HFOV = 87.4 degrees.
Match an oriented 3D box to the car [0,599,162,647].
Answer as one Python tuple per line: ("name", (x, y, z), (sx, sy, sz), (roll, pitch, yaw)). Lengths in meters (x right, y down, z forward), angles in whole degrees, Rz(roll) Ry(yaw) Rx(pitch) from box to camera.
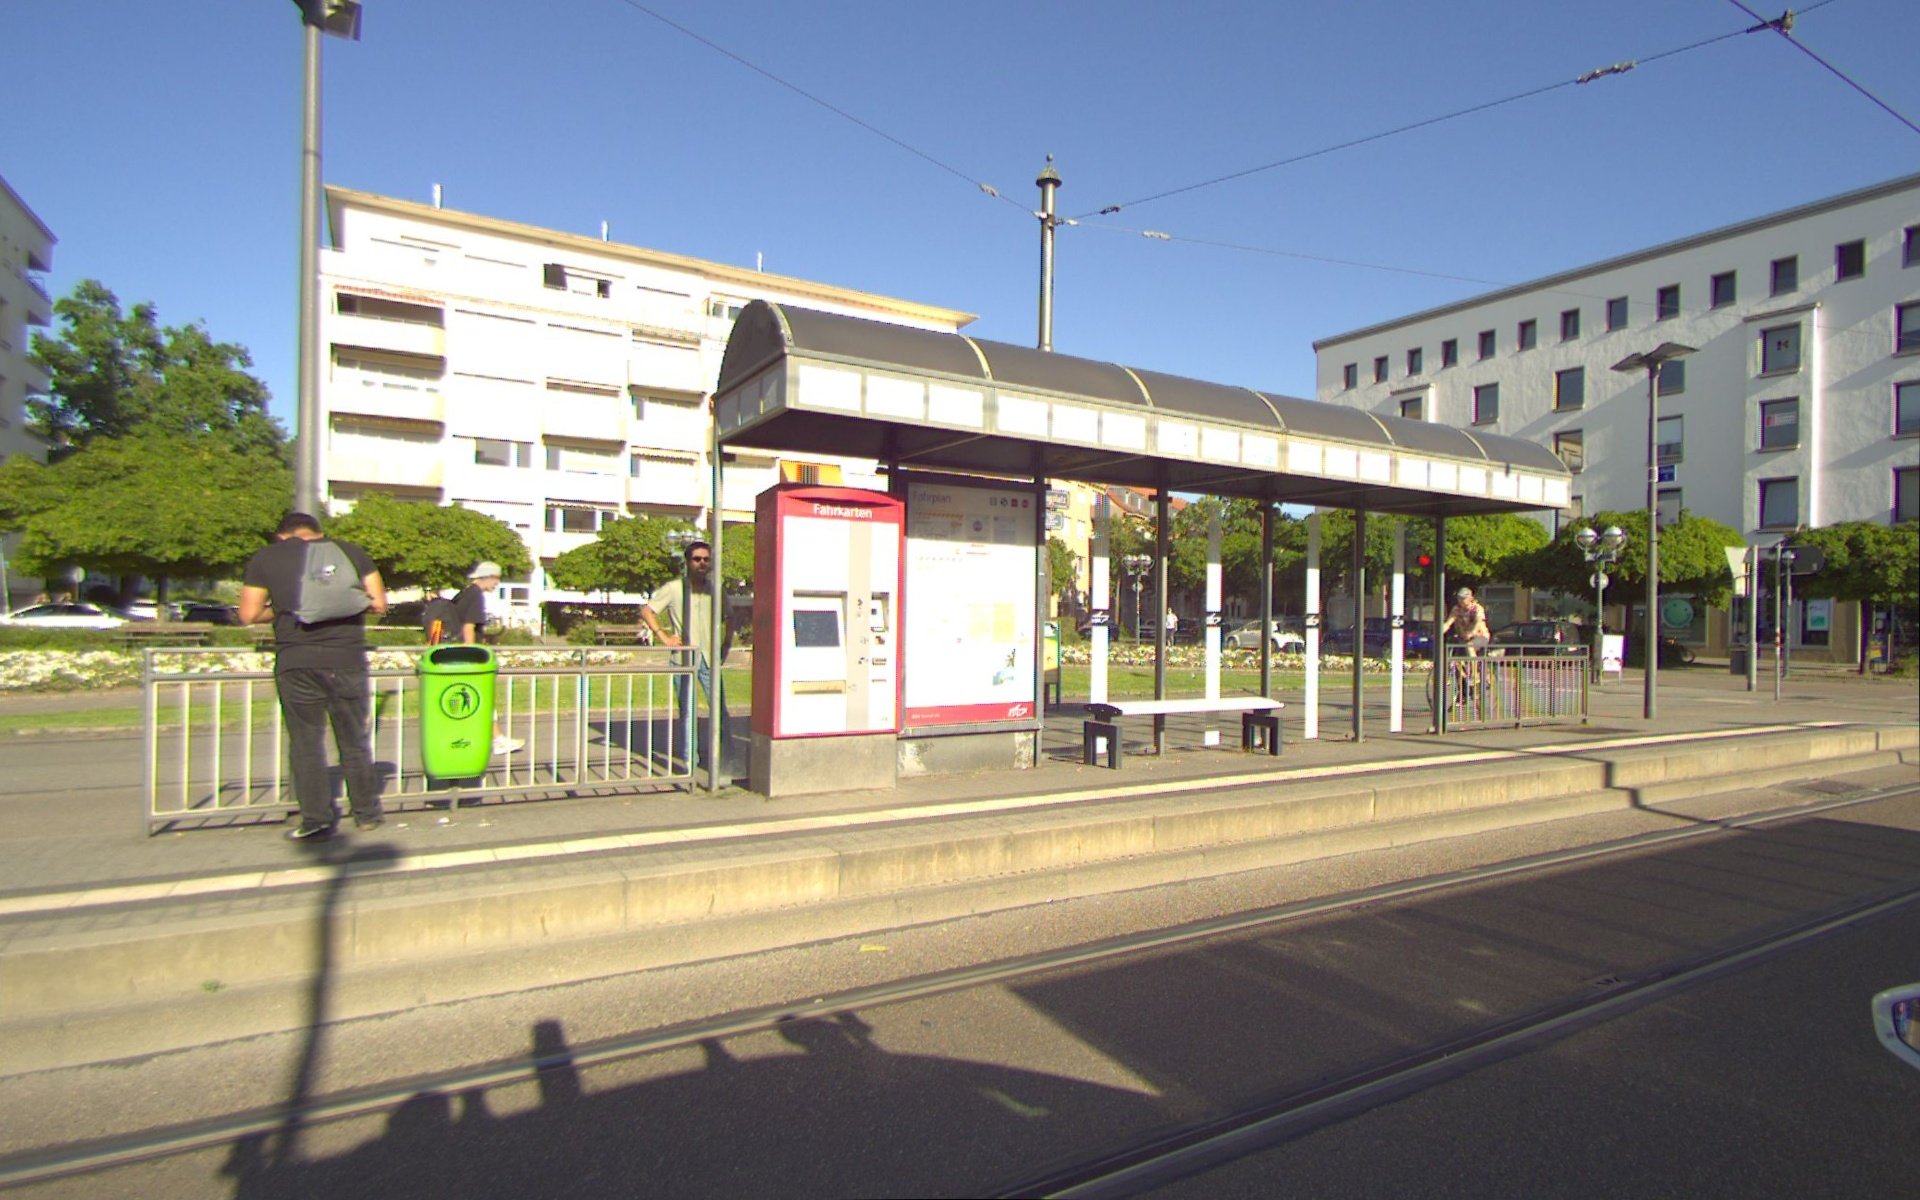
("car", (-25.590, 0.665, 29.017), (3.672, 1.318, 1.984), (1, -1, -30))

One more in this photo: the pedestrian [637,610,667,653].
("pedestrian", (-10.297, 1.048, 33.583), (0.673, 1.378, 1.042), (1, -1, -34))

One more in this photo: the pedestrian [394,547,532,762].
("pedestrian", (-4.220, 0.453, 8.622), (0.960, 1.702, 0.991), (1, -2, -22))

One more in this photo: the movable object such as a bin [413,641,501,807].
("movable object such as a bin", (-2.783, 0.667, 5.563), (0.411, 0.871, 0.335), (1, -1, -27))

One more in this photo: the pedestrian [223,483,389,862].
("pedestrian", (-3.231, 0.345, 5.014), (0.599, 1.740, 0.546), (1, -3, -28))

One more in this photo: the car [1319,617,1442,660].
("car", (17.853, 1.592, 42.832), (1.978, 1.684, 4.581), (1, -1, -31))

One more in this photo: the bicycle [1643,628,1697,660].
("bicycle", (28.198, 1.753, 39.862), (2.586, 1.206, 0.615), (1, -1, -27))

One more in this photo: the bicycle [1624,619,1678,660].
("bicycle", (27.873, 1.599, 40.506), (2.585, 1.628, 0.616), (1, -1, -26))

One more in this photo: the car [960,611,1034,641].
("car", (1.799, 1.273, 49.250), (3.271, 1.372, 1.638), (1, -1, -29))

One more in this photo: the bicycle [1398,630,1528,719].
("bicycle", (6.929, 0.995, 13.802), (1.956, 1.128, 0.723), (2, 0, -34))

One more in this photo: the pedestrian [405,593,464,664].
("pedestrian", (-13.791, 0.744, 26.402), (1.158, 1.811, 1.077), (1, 0, -17))

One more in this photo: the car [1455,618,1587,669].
("car", (21.055, 1.596, 37.843), (1.804, 1.728, 3.968), (1, -1, -30))

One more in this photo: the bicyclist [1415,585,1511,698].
("bicyclist", (6.889, 0.551, 13.760), (0.868, 1.475, 0.822), (2, 0, -34))

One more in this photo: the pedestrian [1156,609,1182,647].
("pedestrian", (10.031, 1.340, 48.319), (0.856, 1.841, 0.944), (1, 0, -19))

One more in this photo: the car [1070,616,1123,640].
("car", (9.102, 1.849, 66.676), (1.887, 1.514, 4.343), (2, 0, 31))

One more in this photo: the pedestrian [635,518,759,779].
("pedestrian", (-1.935, 0.352, 7.384), (0.760, 1.797, 0.613), (1, -3, -28))

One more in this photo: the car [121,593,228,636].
("car", (-28.865, 0.549, 37.001), (2.899, 1.506, 1.407), (1, -1, -30))

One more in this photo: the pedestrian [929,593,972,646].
("pedestrian", (-0.374, 0.765, 39.363), (1.219, 2.040, 1.214), (1, -1, -30))

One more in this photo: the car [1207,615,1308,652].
("car", (14.117, 1.573, 47.940), (1.835, 1.628, 4.581), (1, -1, -31))
